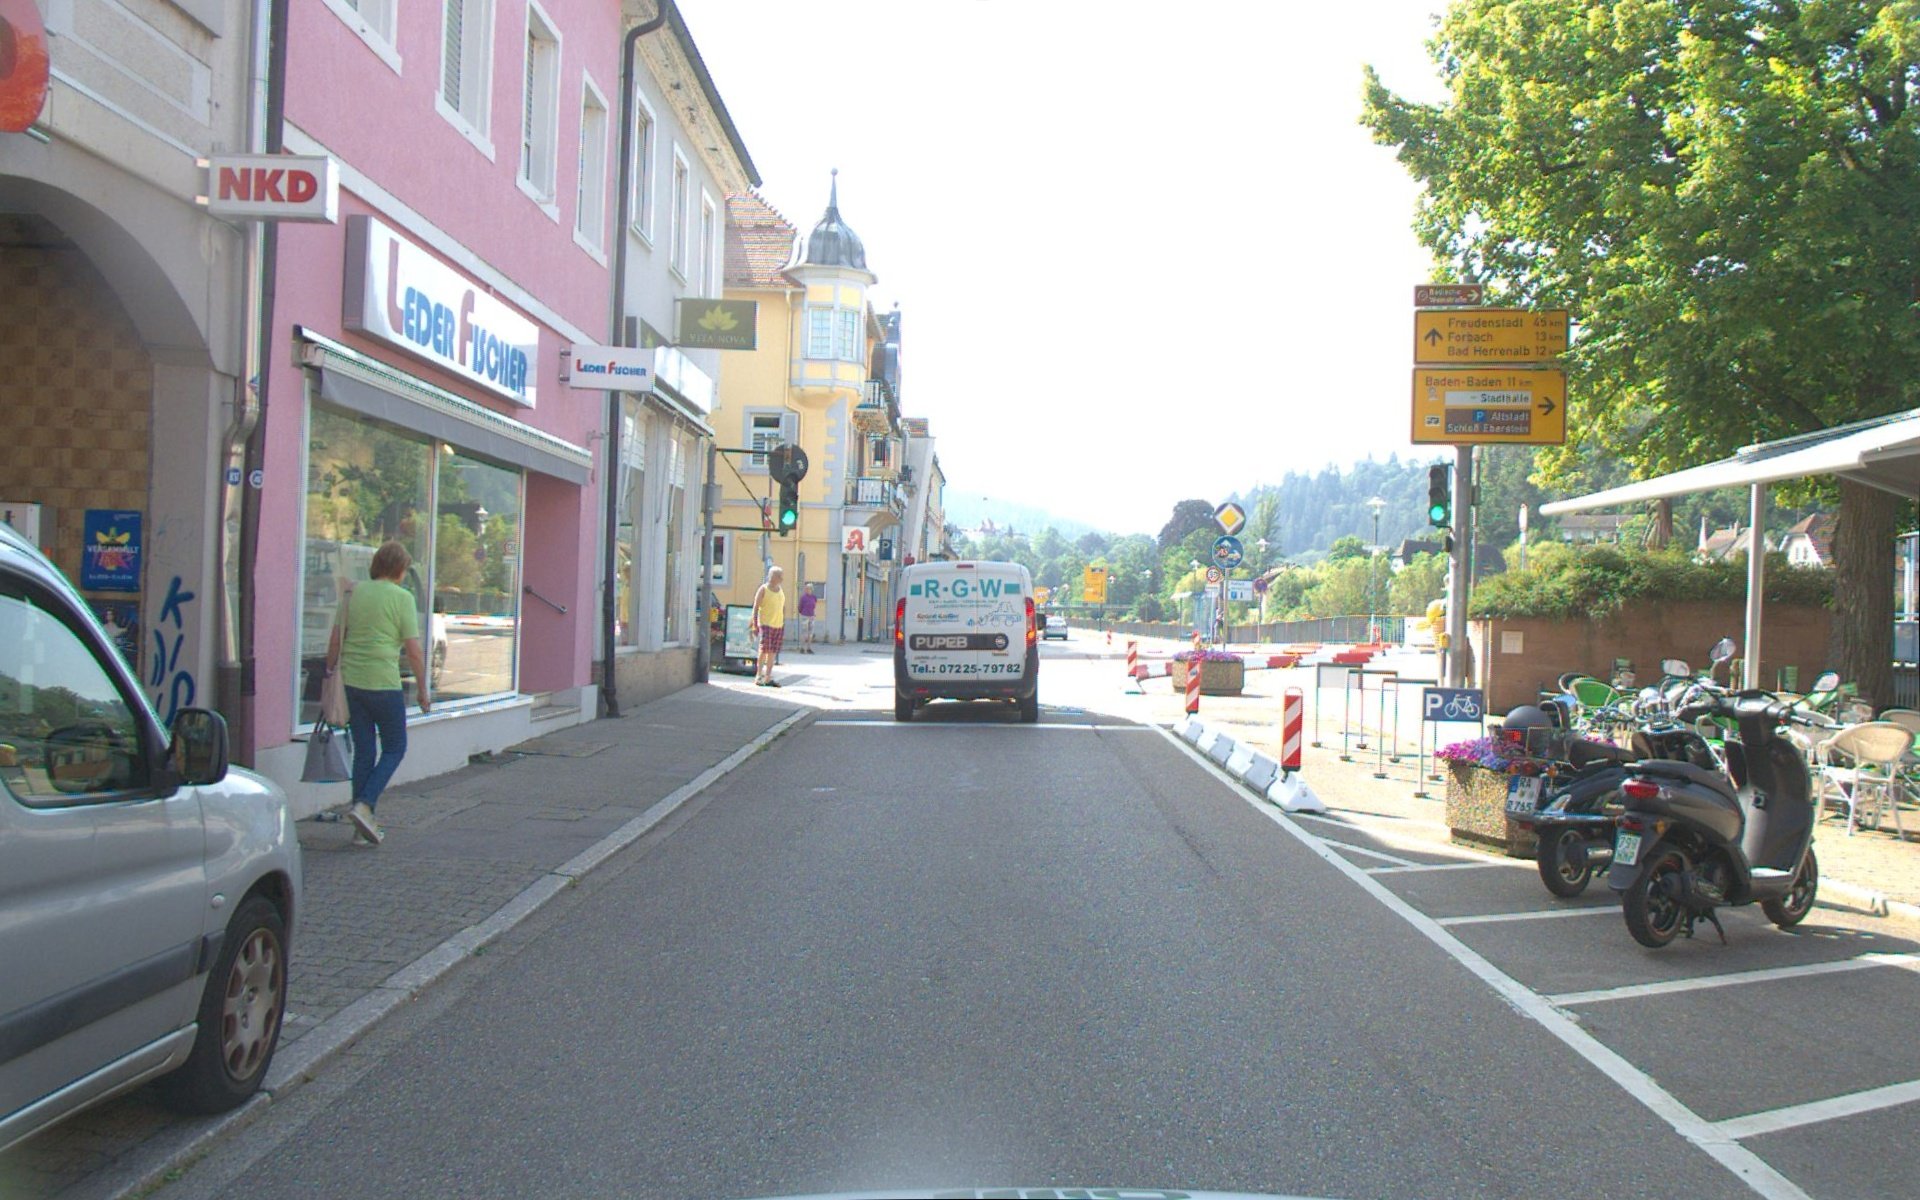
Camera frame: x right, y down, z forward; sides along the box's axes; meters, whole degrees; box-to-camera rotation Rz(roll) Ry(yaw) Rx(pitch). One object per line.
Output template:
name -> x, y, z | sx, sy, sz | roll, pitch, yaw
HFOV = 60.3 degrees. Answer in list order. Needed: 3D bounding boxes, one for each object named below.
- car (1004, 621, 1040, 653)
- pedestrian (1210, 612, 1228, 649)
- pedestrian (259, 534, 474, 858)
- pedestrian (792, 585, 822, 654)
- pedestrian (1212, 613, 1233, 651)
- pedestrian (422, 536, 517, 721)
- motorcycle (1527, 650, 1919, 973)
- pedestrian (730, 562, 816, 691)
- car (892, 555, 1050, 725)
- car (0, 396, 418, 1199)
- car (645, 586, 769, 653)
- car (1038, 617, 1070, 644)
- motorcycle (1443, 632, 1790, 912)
car -> 3.501, 2.075, 94.172 | 1.952, 1.691, 4.000 | 2, 0, 1
pedestrian -> 12.319, 1.442, 78.585 | 0.773, 1.736, 0.492 | 2, -1, 3
pedestrian -> -3.227, 0.501, 9.065 | 0.769, 1.660, 0.859 | 2, 0, 3
pedestrian -> -3.955, 0.502, 42.751 | 0.664, 1.744, 0.617 | 2, 0, 0
pedestrian -> 12.349, 1.494, 77.926 | 0.848, 1.736, 0.777 | 2, -1, 3
pedestrian -> -4.776, 0.270, 16.094 | 0.706, 1.752, 0.667 | 1, 0, -33
motorcycle -> 3.673, 0.901, 7.836 | 2.070, 1.292, 0.916 | 1, 0, -40
pedestrian -> -2.879, 0.389, 25.369 | 0.892, 1.846, 1.015 | 7, -1, -22
car -> 0.159, 0.452, 21.102 | 1.806, 1.939, 4.315 | 0, 0, 1
car -> -2.669, 0.453, 3.466 | 1.672, 1.769, 4.145 | 3, 0, -1
car -> -6.924, 0.514, 44.998 | 1.899, 1.569, 3.916 | 3, 1, -32
car -> 6.315, 2.009, 111.429 | 1.952, 1.691, 4.000 | 2, 0, 1
motorcycle -> 3.676, 0.887, 9.218 | 1.878, 1.382, 0.906 | 1, 0, -35
